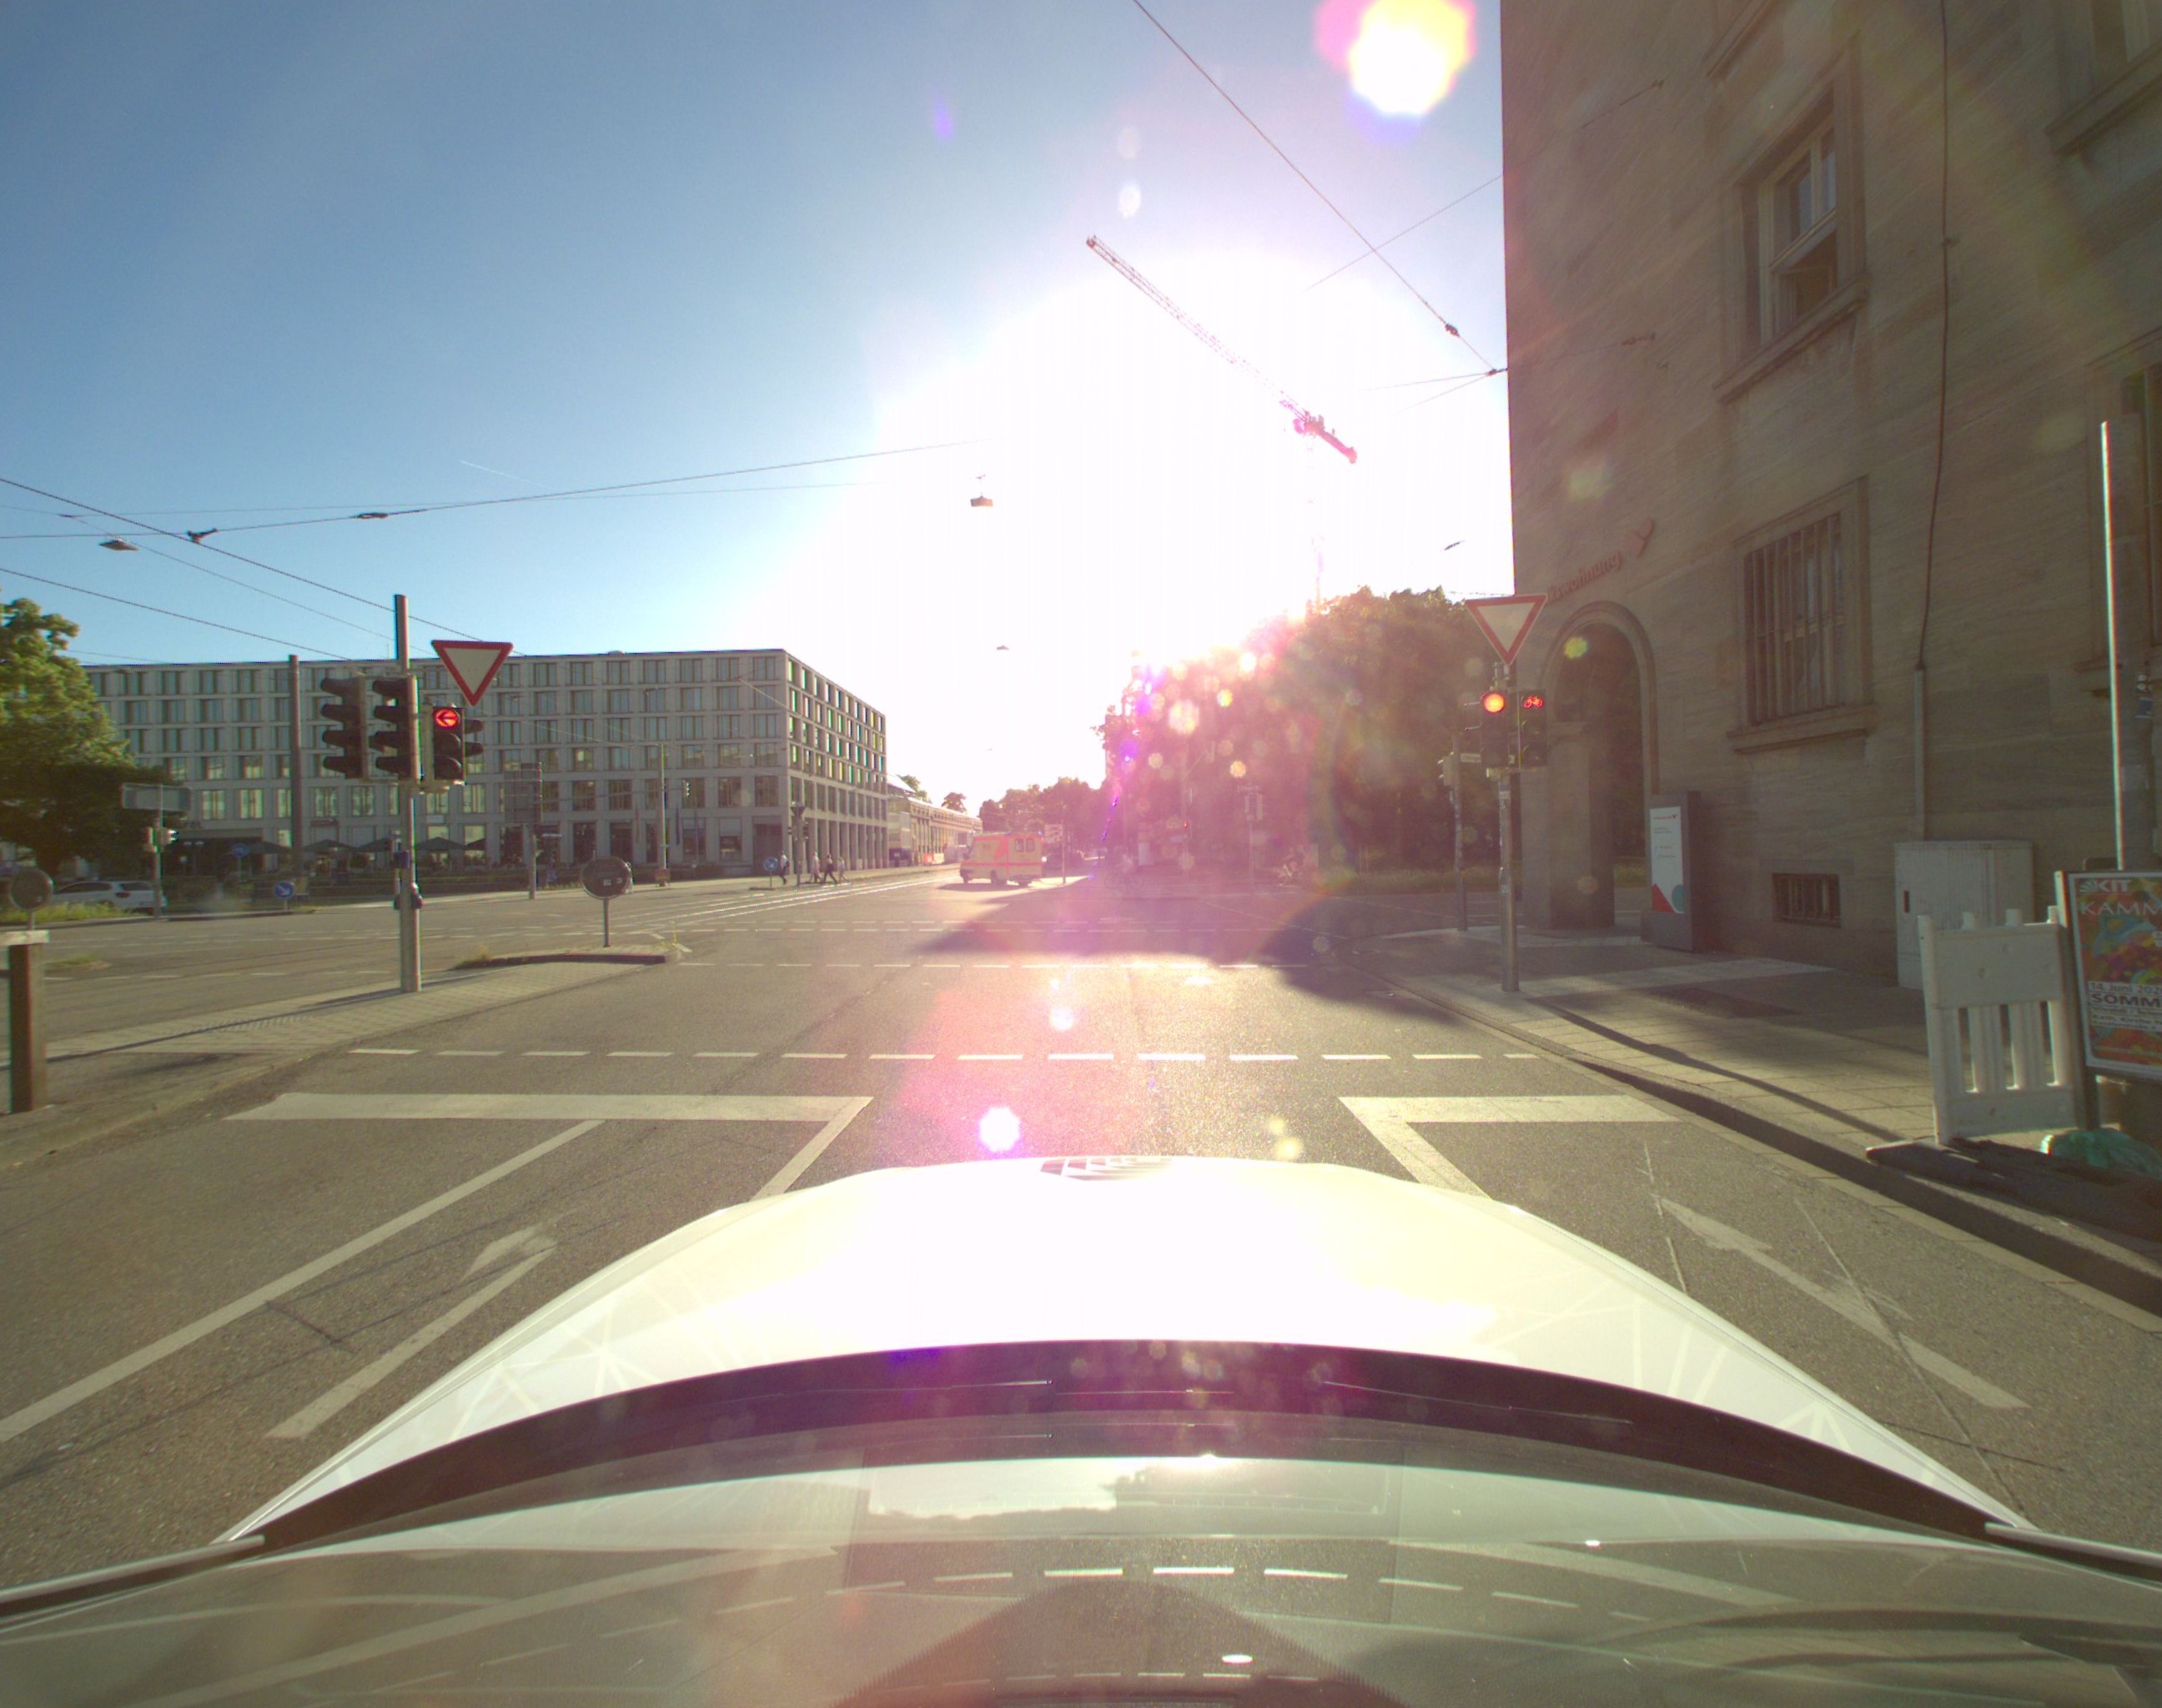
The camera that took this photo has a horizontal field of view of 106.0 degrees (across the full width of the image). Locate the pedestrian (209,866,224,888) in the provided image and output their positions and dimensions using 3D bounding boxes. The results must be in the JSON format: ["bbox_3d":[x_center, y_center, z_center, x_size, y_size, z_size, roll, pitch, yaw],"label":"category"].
[{"bbox_3d":[-65.694,1.718,61.901,0.538,1.669,0.561,0,-1,-2],"label":"pedestrian"}]

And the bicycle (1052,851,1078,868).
[{"bbox_3d":[-1.585,0.551,81.600,2.538,1.744,1.038,0,-1,1],"label":"bicycle"}]

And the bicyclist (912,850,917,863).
[{"bbox_3d":[-26.735,0.412,131.013,0.569,2.024,0.762,-2,0,0],"label":"bicyclist"}]

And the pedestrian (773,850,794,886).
[{"bbox_3d":[-15.981,0.762,43.773,0.797,1.918,0.638,-2,0,7],"label":"pedestrian"}]

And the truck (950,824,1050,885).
[{"bbox_3d":[-4.506,0.049,44.134,2.736,3.016,6.421,-1,0,-33],"label":"truck"}]

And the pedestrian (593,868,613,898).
[{"bbox_3d":[-26.133,1.581,44.527,0.687,1.644,0.625,-2,0,33],"label":"pedestrian"}]

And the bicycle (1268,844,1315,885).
[{"bbox_3d":[9.199,0.466,35.674,1.889,1.735,0.598,-2,0,4],"label":"bicycle"}]

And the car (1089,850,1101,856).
[{"bbox_3d":[3.643,-0.182,213.609,3.207,1.588,1.445,0,-1,-3],"label":"car"}]

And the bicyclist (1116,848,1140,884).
[{"bbox_3d":[2.079,0.513,36.032,0.972,1.560,0.574,-2,0,-1],"label":"bicyclist"}]

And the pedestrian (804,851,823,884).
[{"bbox_3d":[-14.807,0.749,45.076,0.735,1.803,0.717,-2,0,7],"label":"pedestrian"}]

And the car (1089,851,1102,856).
[{"bbox_3d":[3.780,0.001,211.454,3.207,1.263,1.373,0,-1,0],"label":"car"}]

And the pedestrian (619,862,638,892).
[{"bbox_3d":[-25.160,1.292,45.283,0.692,1.644,0.621,-2,0,-3],"label":"pedestrian"}]

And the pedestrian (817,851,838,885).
[{"bbox_3d":[-13.844,0.768,44.492,0.865,1.803,0.665,-2,0,7],"label":"pedestrian"}]

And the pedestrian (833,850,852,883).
[{"bbox_3d":[-13.279,0.703,45.370,0.865,1.803,0.533,-2,0,7],"label":"pedestrian"}]

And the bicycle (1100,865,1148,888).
[{"bbox_3d":[1.891,0.989,36.013,2.059,0.933,0.574,-2,0,-2],"label":"bicycle"}]

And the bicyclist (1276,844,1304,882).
[{"bbox_3d":[9.140,0.383,35.674,1.069,1.641,0.598,-2,0,4],"label":"bicyclist"}]

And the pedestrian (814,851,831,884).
[{"bbox_3d":[-14.574,0.764,45.939,0.735,1.803,0.533,-2,0,7],"label":"pedestrian"}]

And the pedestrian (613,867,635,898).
[{"bbox_3d":[-24.581,1.515,43.793,0.790,1.644,0.621,-2,0,-3],"label":"pedestrian"}]

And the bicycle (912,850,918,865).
[{"bbox_3d":[-26.731,0.529,131.034,0.569,2.296,1.422,-2,0,0],"label":"bicycle"}]

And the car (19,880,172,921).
[{"bbox_3d":[-39.086,1.836,32.369,4.030,1.434,1.631,-2,-2,-1],"label":"car"}]
